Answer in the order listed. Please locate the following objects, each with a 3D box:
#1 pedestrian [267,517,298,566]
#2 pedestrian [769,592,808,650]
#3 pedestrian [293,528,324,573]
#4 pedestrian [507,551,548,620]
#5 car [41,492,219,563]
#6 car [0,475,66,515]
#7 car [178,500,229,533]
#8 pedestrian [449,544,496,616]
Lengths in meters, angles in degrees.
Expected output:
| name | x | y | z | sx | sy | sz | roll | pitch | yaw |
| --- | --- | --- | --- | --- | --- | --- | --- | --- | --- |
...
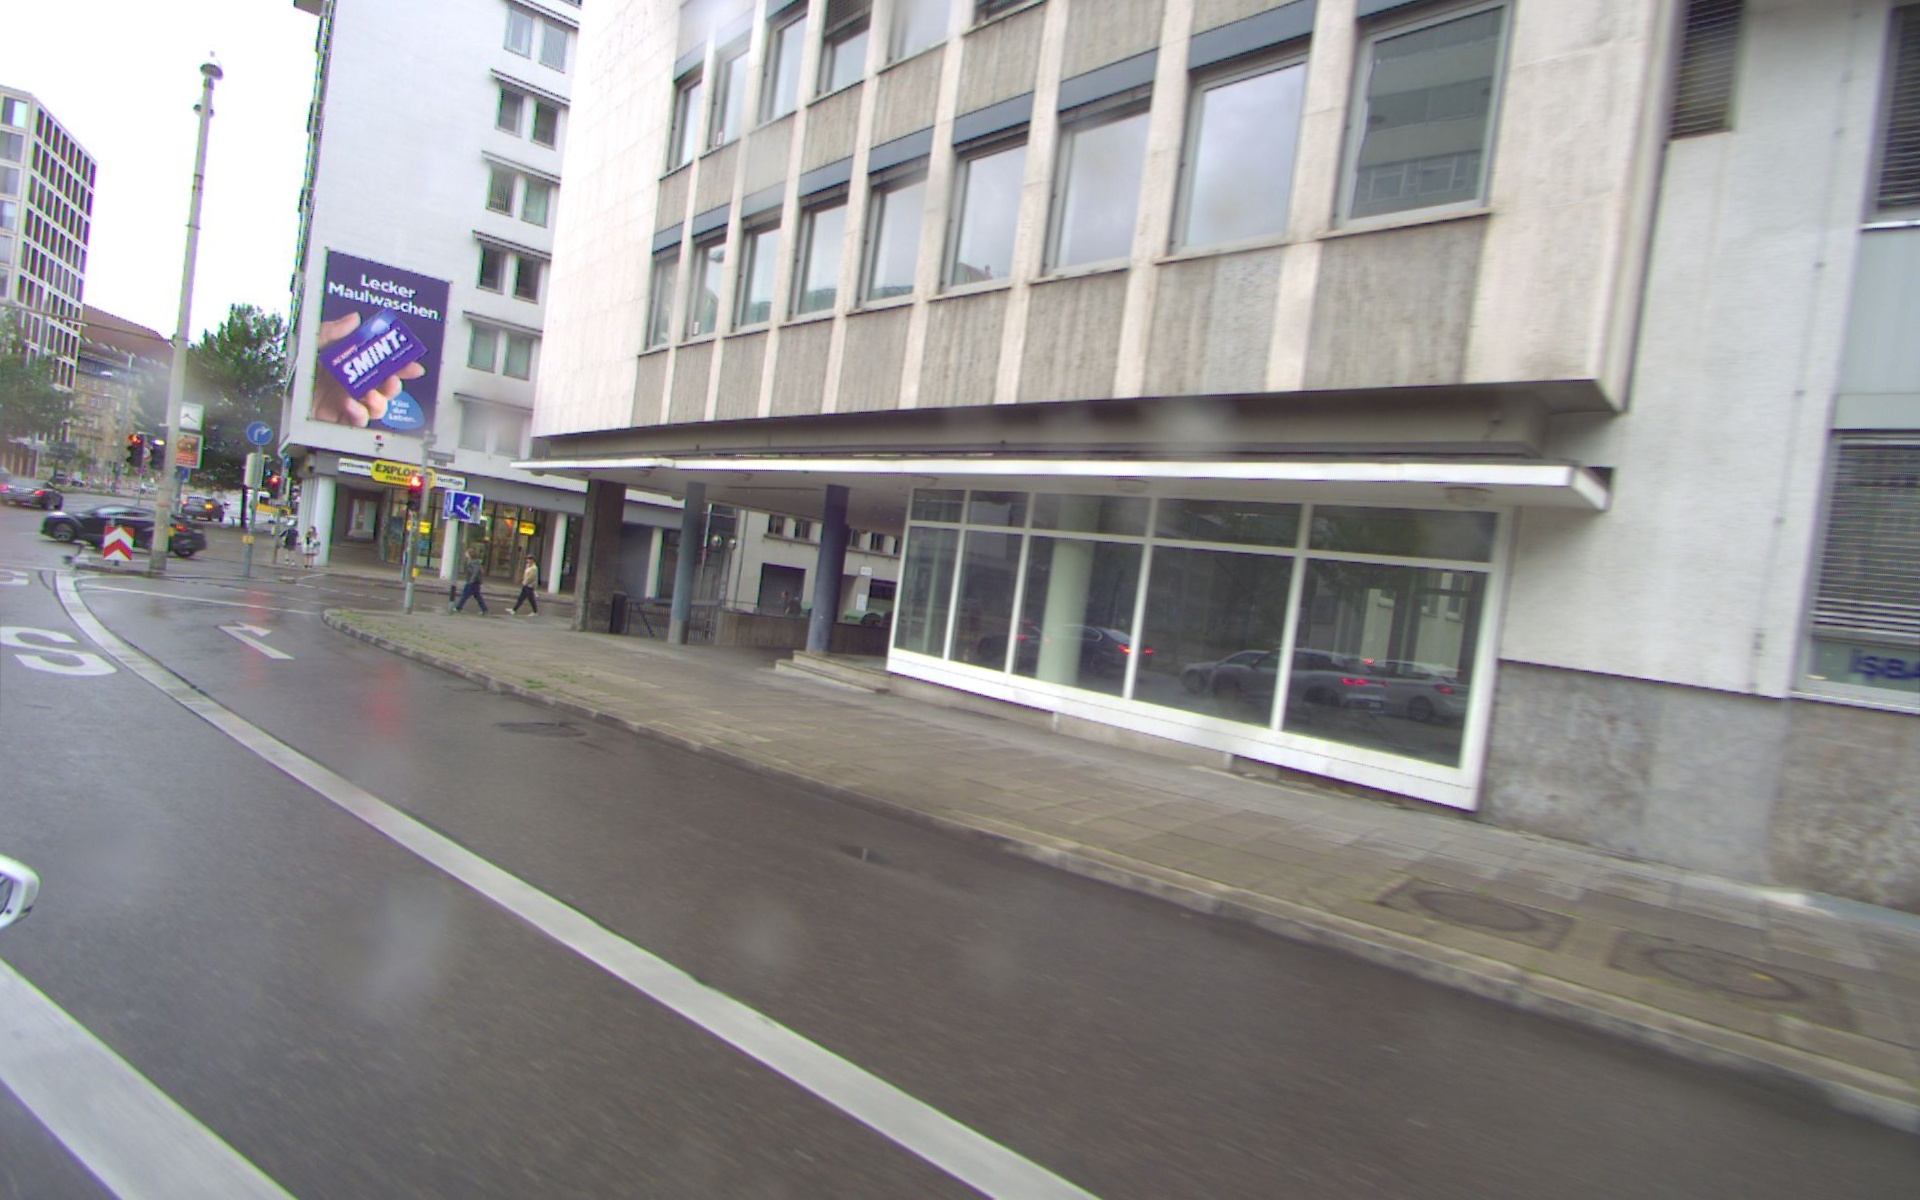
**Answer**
| name | x | y | z | sx | sy | sz | roll | pitch | yaw |
| --- | --- | --- | --- | --- | --- | --- | --- | --- | --- |
| pedestrian | -25.142 | -2.178 | 37.341 | 0.724 | 1.689 | 0.683 | 7 | 0 | -41 |
| pedestrian | -5.635 | 0.680 | 32.995 | 1.002 | 1.776 | 0.793 | 7 | 0 | -13 |
| pedestrian | -24.245 | -1.850 | 37.448 | 0.724 | 1.542 | 0.751 | 7 | 0 | -41 |
| pedestrian | -12.317 | -0.416 | 28.646 | 0.724 | 1.820 | 0.730 | 7 | 1 | -41 |
| car | -27.180 | -2.332 | 33.112 | 3.950 | 1.570 | 1.989 | 9 | -1 | -23 |
| car | -46.917 | -5.264 | 50.753 | 1.898 | 1.527 | 4.319 | 9 | -1 | -32 |
| car | -51.371 | -5.610 | 68.403 | 2.032 | 1.786 | 4.323 | 9 | -1 | -30 |
| pedestrian | -13.126 | -0.536 | 27.085 | 0.810 | 1.820 | 0.702 | 7 | 1 | -41 |
